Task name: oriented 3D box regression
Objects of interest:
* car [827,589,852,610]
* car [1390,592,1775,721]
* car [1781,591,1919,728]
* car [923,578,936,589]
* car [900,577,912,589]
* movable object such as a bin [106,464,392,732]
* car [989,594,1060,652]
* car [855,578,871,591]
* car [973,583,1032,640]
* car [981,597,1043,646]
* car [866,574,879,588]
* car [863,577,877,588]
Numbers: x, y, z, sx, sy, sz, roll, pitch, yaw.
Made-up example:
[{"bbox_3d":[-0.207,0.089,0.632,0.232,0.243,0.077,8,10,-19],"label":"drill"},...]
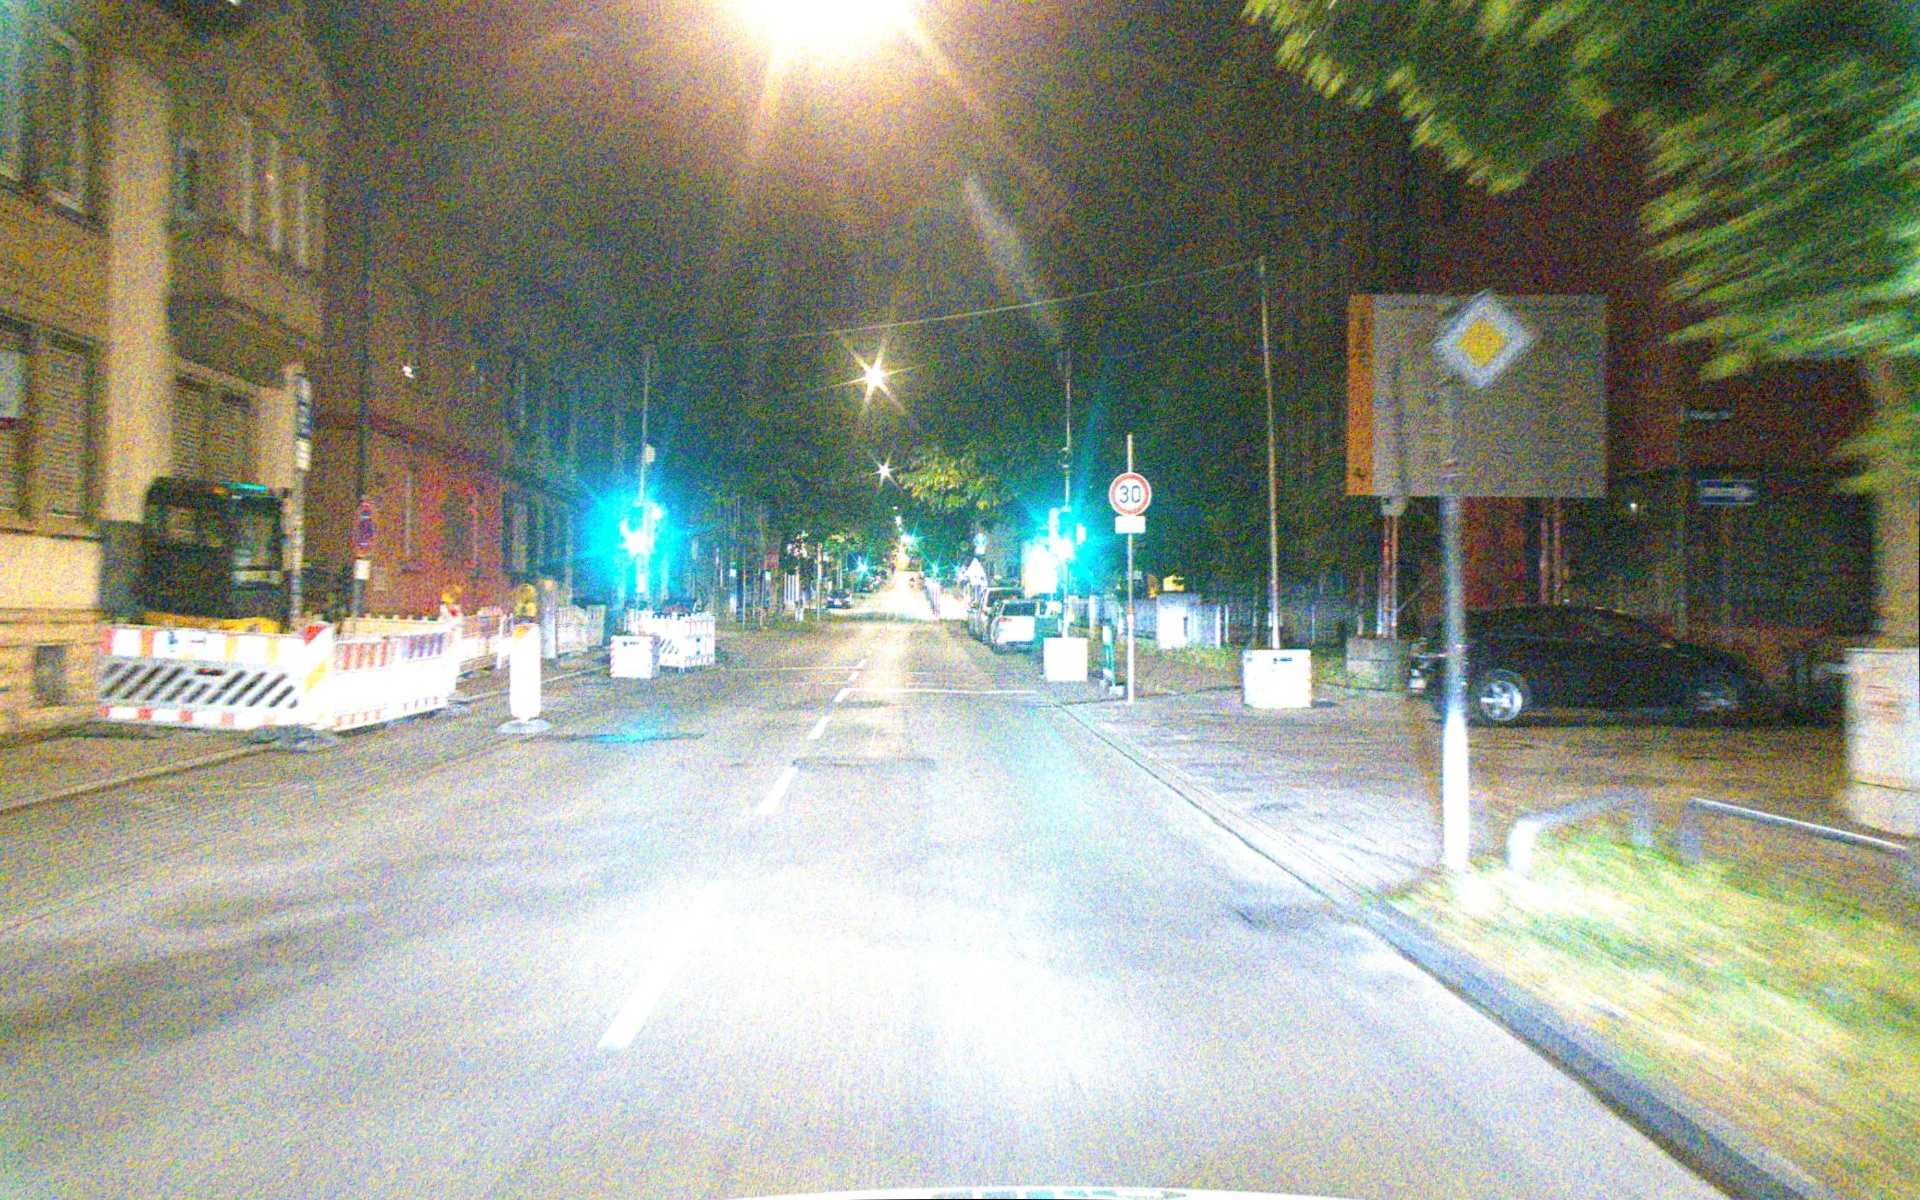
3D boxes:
[{"bbox_3d":[-9.022,-0.060,124.132,1.637,1.468,4.203,1,1,-2],"label":"car"},{"bbox_3d":[7.383,0.680,19.869,3.934,1.447,1.850,1,-2,-4],"label":"car"},{"bbox_3d":[11.964,0.650,19.090,4.109,1.493,1.850,0,0,-5],"label":"car"},{"bbox_3d":[-4.567,-2.505,246.727,1.835,1.571,4.203,1,1,-2],"label":"car"},{"bbox_3d":[-8.305,-2.611,254.776,1.835,1.846,4.204,1,1,-1],"label":"car"},{"bbox_3d":[-7.764,-0.021,18.453,1.539,2.672,3.909,0,0,-1],"label":"movable object such as a bin"},{"bbox_3d":[1.749,0.599,46.086,1.704,1.503,3.999,-2,0,-1],"label":"car"},{"bbox_3d":[-11.485,-1.860,196.143,1.835,1.571,4.203,1,1,-2],"label":"car"},{"bbox_3d":[1.429,0.366,57.165,1.701,1.887,4.313,0,0,-3],"label":"car"},{"bbox_3d":[1.562,0.637,51.231,1.652,1.445,4.442,0,0,-2],"label":"car"},{"bbox_3d":[-12.644,-2.771,239.393,1.836,1.846,4.203,1,1,-2],"label":"car"},{"bbox_3d":[-12.644,-2.469,233.500,1.835,1.571,4.203,1,1,-2],"label":"car"}]
